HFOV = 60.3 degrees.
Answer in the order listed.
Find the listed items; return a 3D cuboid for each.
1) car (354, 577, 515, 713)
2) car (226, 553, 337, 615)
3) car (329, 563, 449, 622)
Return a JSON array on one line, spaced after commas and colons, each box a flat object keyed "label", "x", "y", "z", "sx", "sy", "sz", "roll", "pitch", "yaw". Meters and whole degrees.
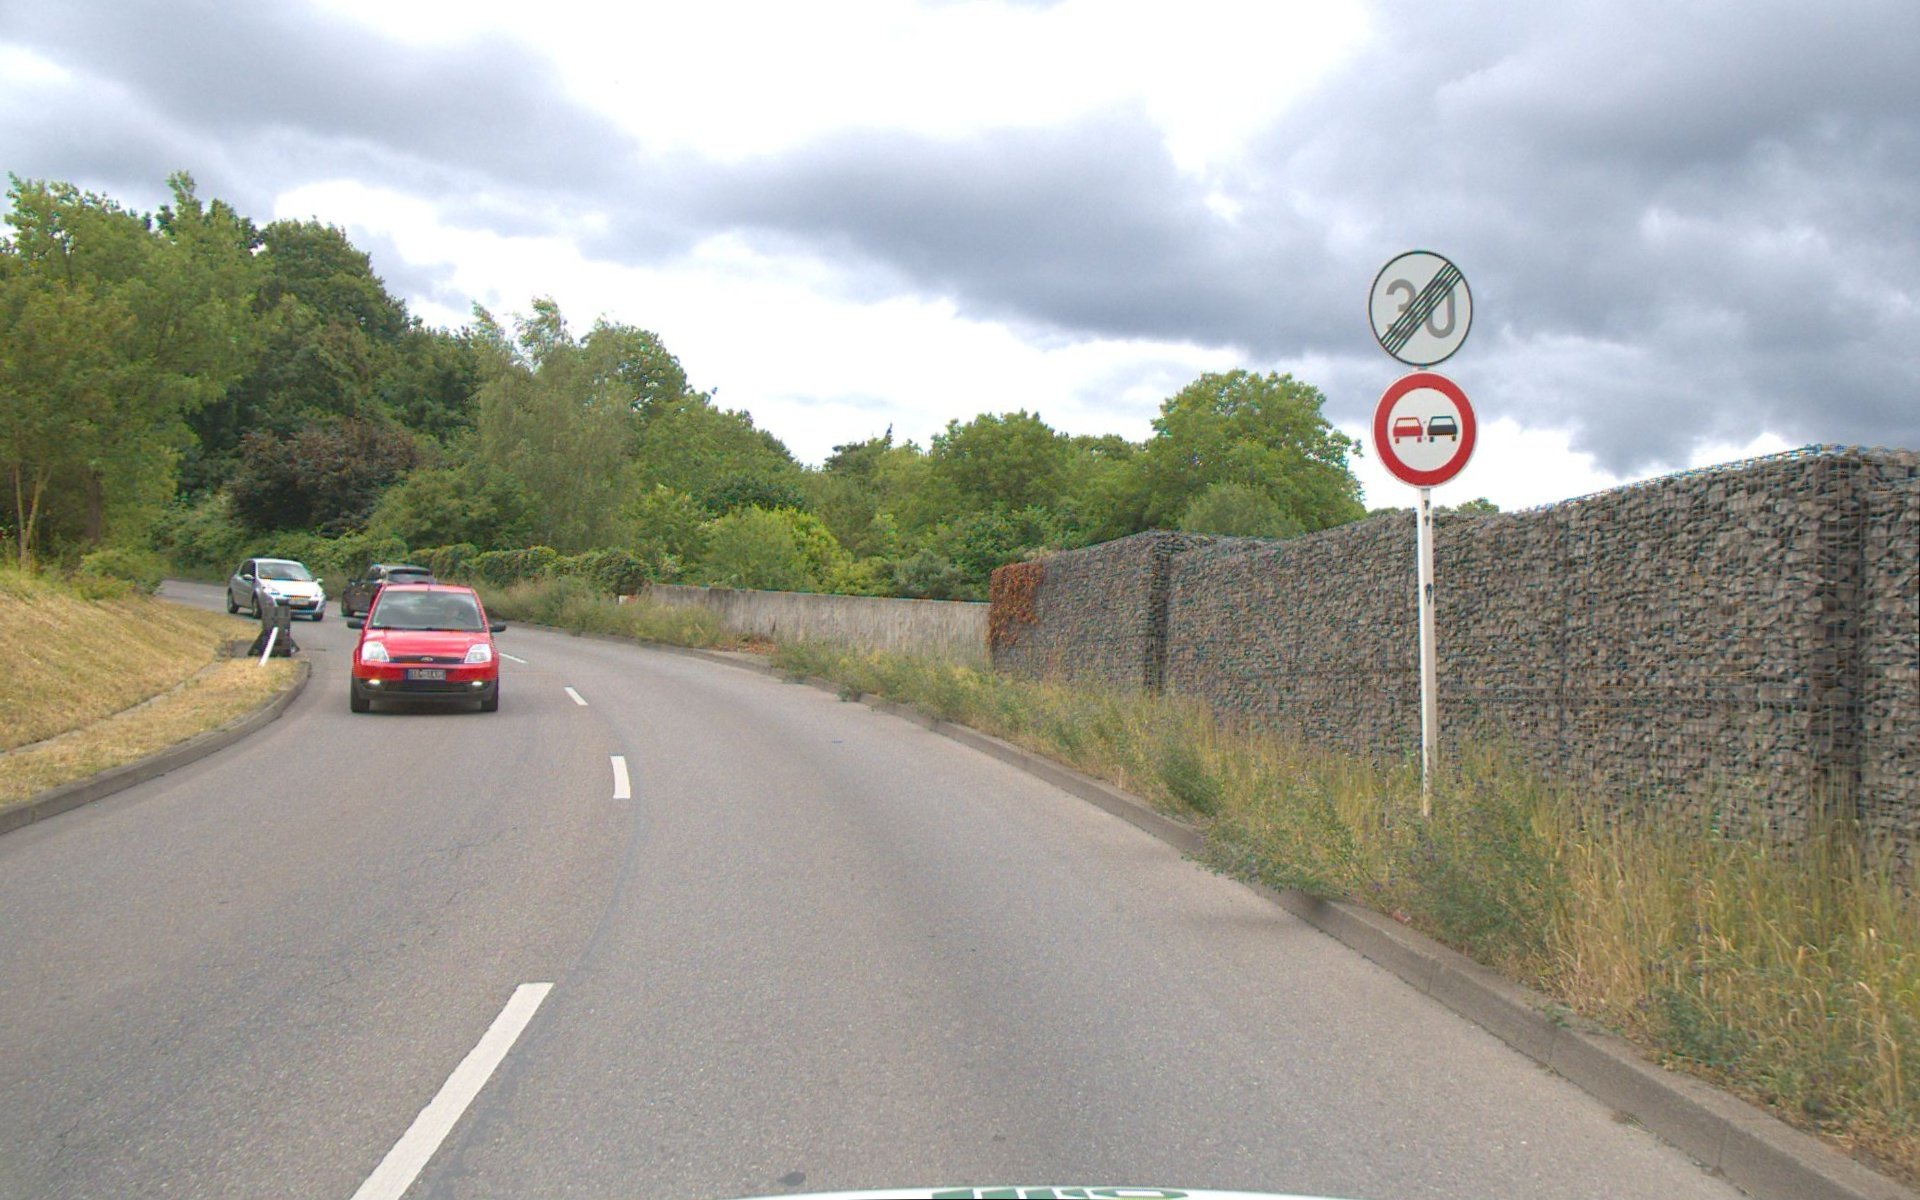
[{"label": "car", "x": -6.568, "y": 0.500, "z": 20.615, "sx": 1.715, "sy": 1.441, "sz": 3.734, "roll": 1, "pitch": 1, "yaw": -19}, {"label": "car", "x": -17.632, "y": -0.409, "z": 42.884, "sx": 1.761, "sy": 1.521, "sz": 3.863, "roll": 1, "pitch": 0, "yaw": -37}, {"label": "car", "x": -15.444, "y": -0.235, "z": 44.626, "sx": 1.828, "sy": 1.509, "sz": 3.943, "roll": 0, "pitch": 1, "yaw": -40}]
